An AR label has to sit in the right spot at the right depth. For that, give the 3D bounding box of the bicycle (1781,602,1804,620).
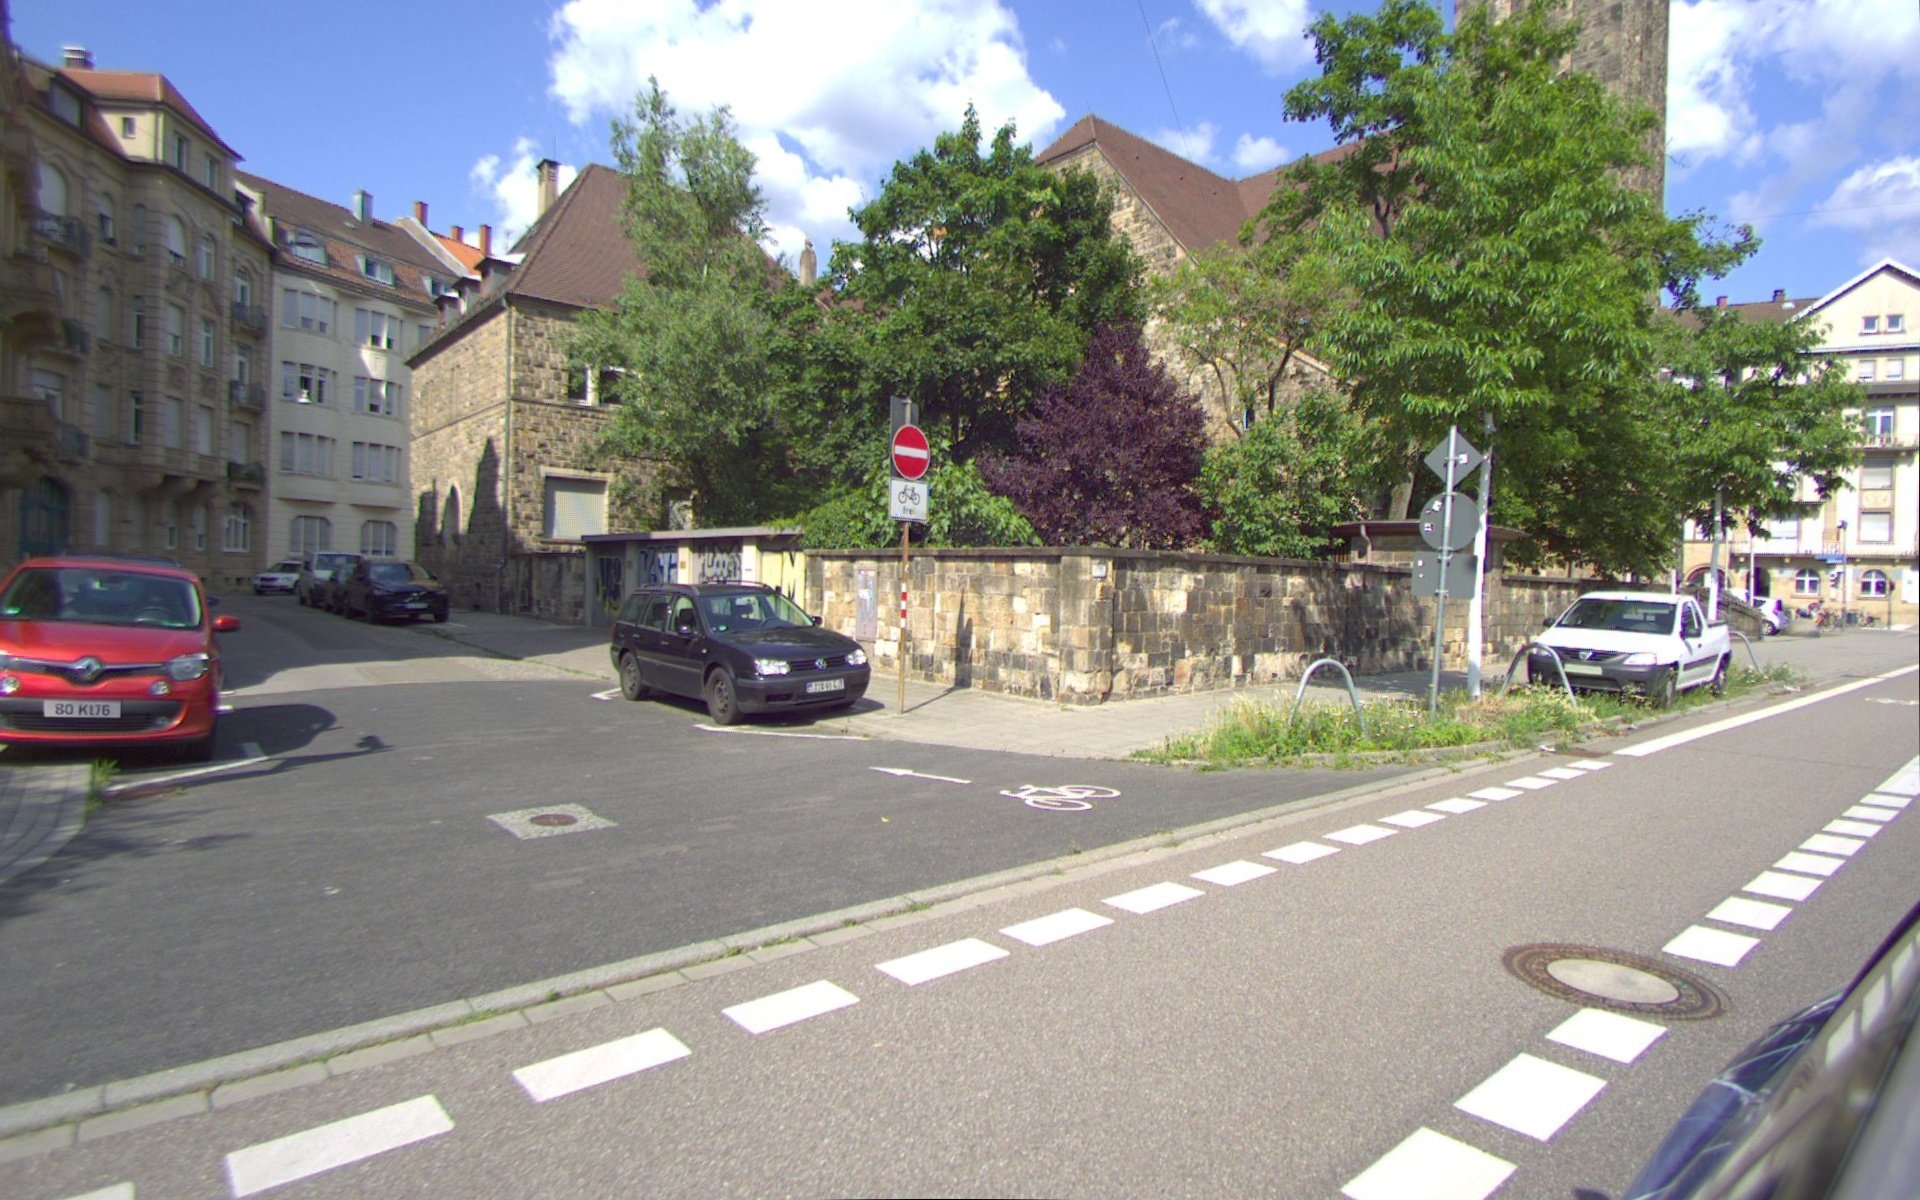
[{"bbox_3d":[54.430,0.718,66.174,0.533,1.030,1.917,1,3,20],"label":"bicycle"}]

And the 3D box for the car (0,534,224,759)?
[{"bbox_3d":[-7.512,0.272,8.849,1.724,1.575,3.754,0,1,-36],"label":"car"}]

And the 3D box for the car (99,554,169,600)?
[{"bbox_3d":[-28.580,-0.830,35.098,1.658,1.482,3.821,0,2,-36],"label":"car"}]

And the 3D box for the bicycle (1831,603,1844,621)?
[{"bbox_3d":[56.569,0.787,65.238,0.537,1.031,1.902,2,3,38],"label":"bicycle"}]

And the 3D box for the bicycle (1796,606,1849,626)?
[{"bbox_3d":[47.724,0.876,56.001,2.108,1.001,0.648,2,0,21],"label":"bicycle"}]

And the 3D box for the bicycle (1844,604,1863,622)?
[{"bbox_3d":[57.077,0.812,64.641,1.844,1.031,0.602,-2,3,-39],"label":"bicycle"}]

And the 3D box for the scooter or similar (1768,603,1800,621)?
[{"bbox_3d":[46.028,0.663,56.529,1.117,0.989,0.884,2,0,21],"label":"scooter or similar"}]

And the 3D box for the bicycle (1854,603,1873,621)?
[{"bbox_3d":[58.440,0.767,65.495,0.606,1.031,1.855,2,3,33],"label":"bicycle"}]

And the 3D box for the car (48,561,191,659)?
[{"bbox_3d":[-14.589,0.106,17.736,1.683,1.466,3.676,0,2,-36],"label":"car"}]

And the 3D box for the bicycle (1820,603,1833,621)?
[{"bbox_3d":[55.996,0.783,65.408,0.537,1.031,1.903,2,4,38],"label":"bicycle"}]

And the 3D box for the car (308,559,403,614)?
[{"bbox_3d":[-18.960,-0.466,31.651,1.793,1.574,4.259,-3,3,-41],"label":"car"}]

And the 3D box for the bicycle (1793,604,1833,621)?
[{"bbox_3d":[54.409,0.818,64.542,1.896,1.031,0.539,1,3,9],"label":"bicycle"}]

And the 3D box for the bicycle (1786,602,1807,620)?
[{"bbox_3d":[55.379,0.710,67.036,0.534,1.030,1.914,2,3,24],"label":"bicycle"}]

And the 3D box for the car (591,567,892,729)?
[{"bbox_3d":[-2.809,0.413,12.310,1.727,1.574,4.259,-3,3,-41],"label":"car"}]

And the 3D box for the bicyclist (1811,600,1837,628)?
[{"bbox_3d":[47.782,0.784,55.973,0.911,1.523,0.647,2,-2,21],"label":"bicyclist"}]

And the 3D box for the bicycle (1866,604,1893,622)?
[{"bbox_3d":[59.112,0.823,65.096,0.602,1.031,1.864,2,3,21],"label":"bicycle"}]

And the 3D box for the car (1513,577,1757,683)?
[{"bbox_3d":[10.241,0.431,15.311,3.768,1.434,1.675,1,-1,-32],"label":"car"}]

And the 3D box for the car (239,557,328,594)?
[{"bbox_3d":[-31.272,-1.167,46.911,1.787,1.574,4.275,-1,3,-9],"label":"car"}]

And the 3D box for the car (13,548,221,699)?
[{"bbox_3d":[-10.869,0.191,13.162,1.799,1.637,4.265,0,1,-39],"label":"car"}]

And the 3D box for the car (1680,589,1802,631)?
[{"bbox_3d":[32.520,0.396,42.206,1.766,1.566,3.773,1,1,-41],"label":"car"}]

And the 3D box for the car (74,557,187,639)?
[{"bbox_3d":[-17.722,-0.107,21.765,1.658,1.564,3.821,0,2,-36],"label":"car"}]

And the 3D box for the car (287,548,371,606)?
[{"bbox_3d":[-22.173,-0.848,35.491,1.793,1.896,4.259,-3,3,-41],"label":"car"}]

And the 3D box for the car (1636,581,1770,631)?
[{"bbox_3d":[29.678,0.208,40.508,1.832,1.847,4.008,1,1,-42],"label":"car"}]

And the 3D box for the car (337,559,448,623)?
[{"bbox_3d":[-15.536,-0.309,27.599,1.793,1.574,4.259,-3,3,-41],"label":"car"}]
